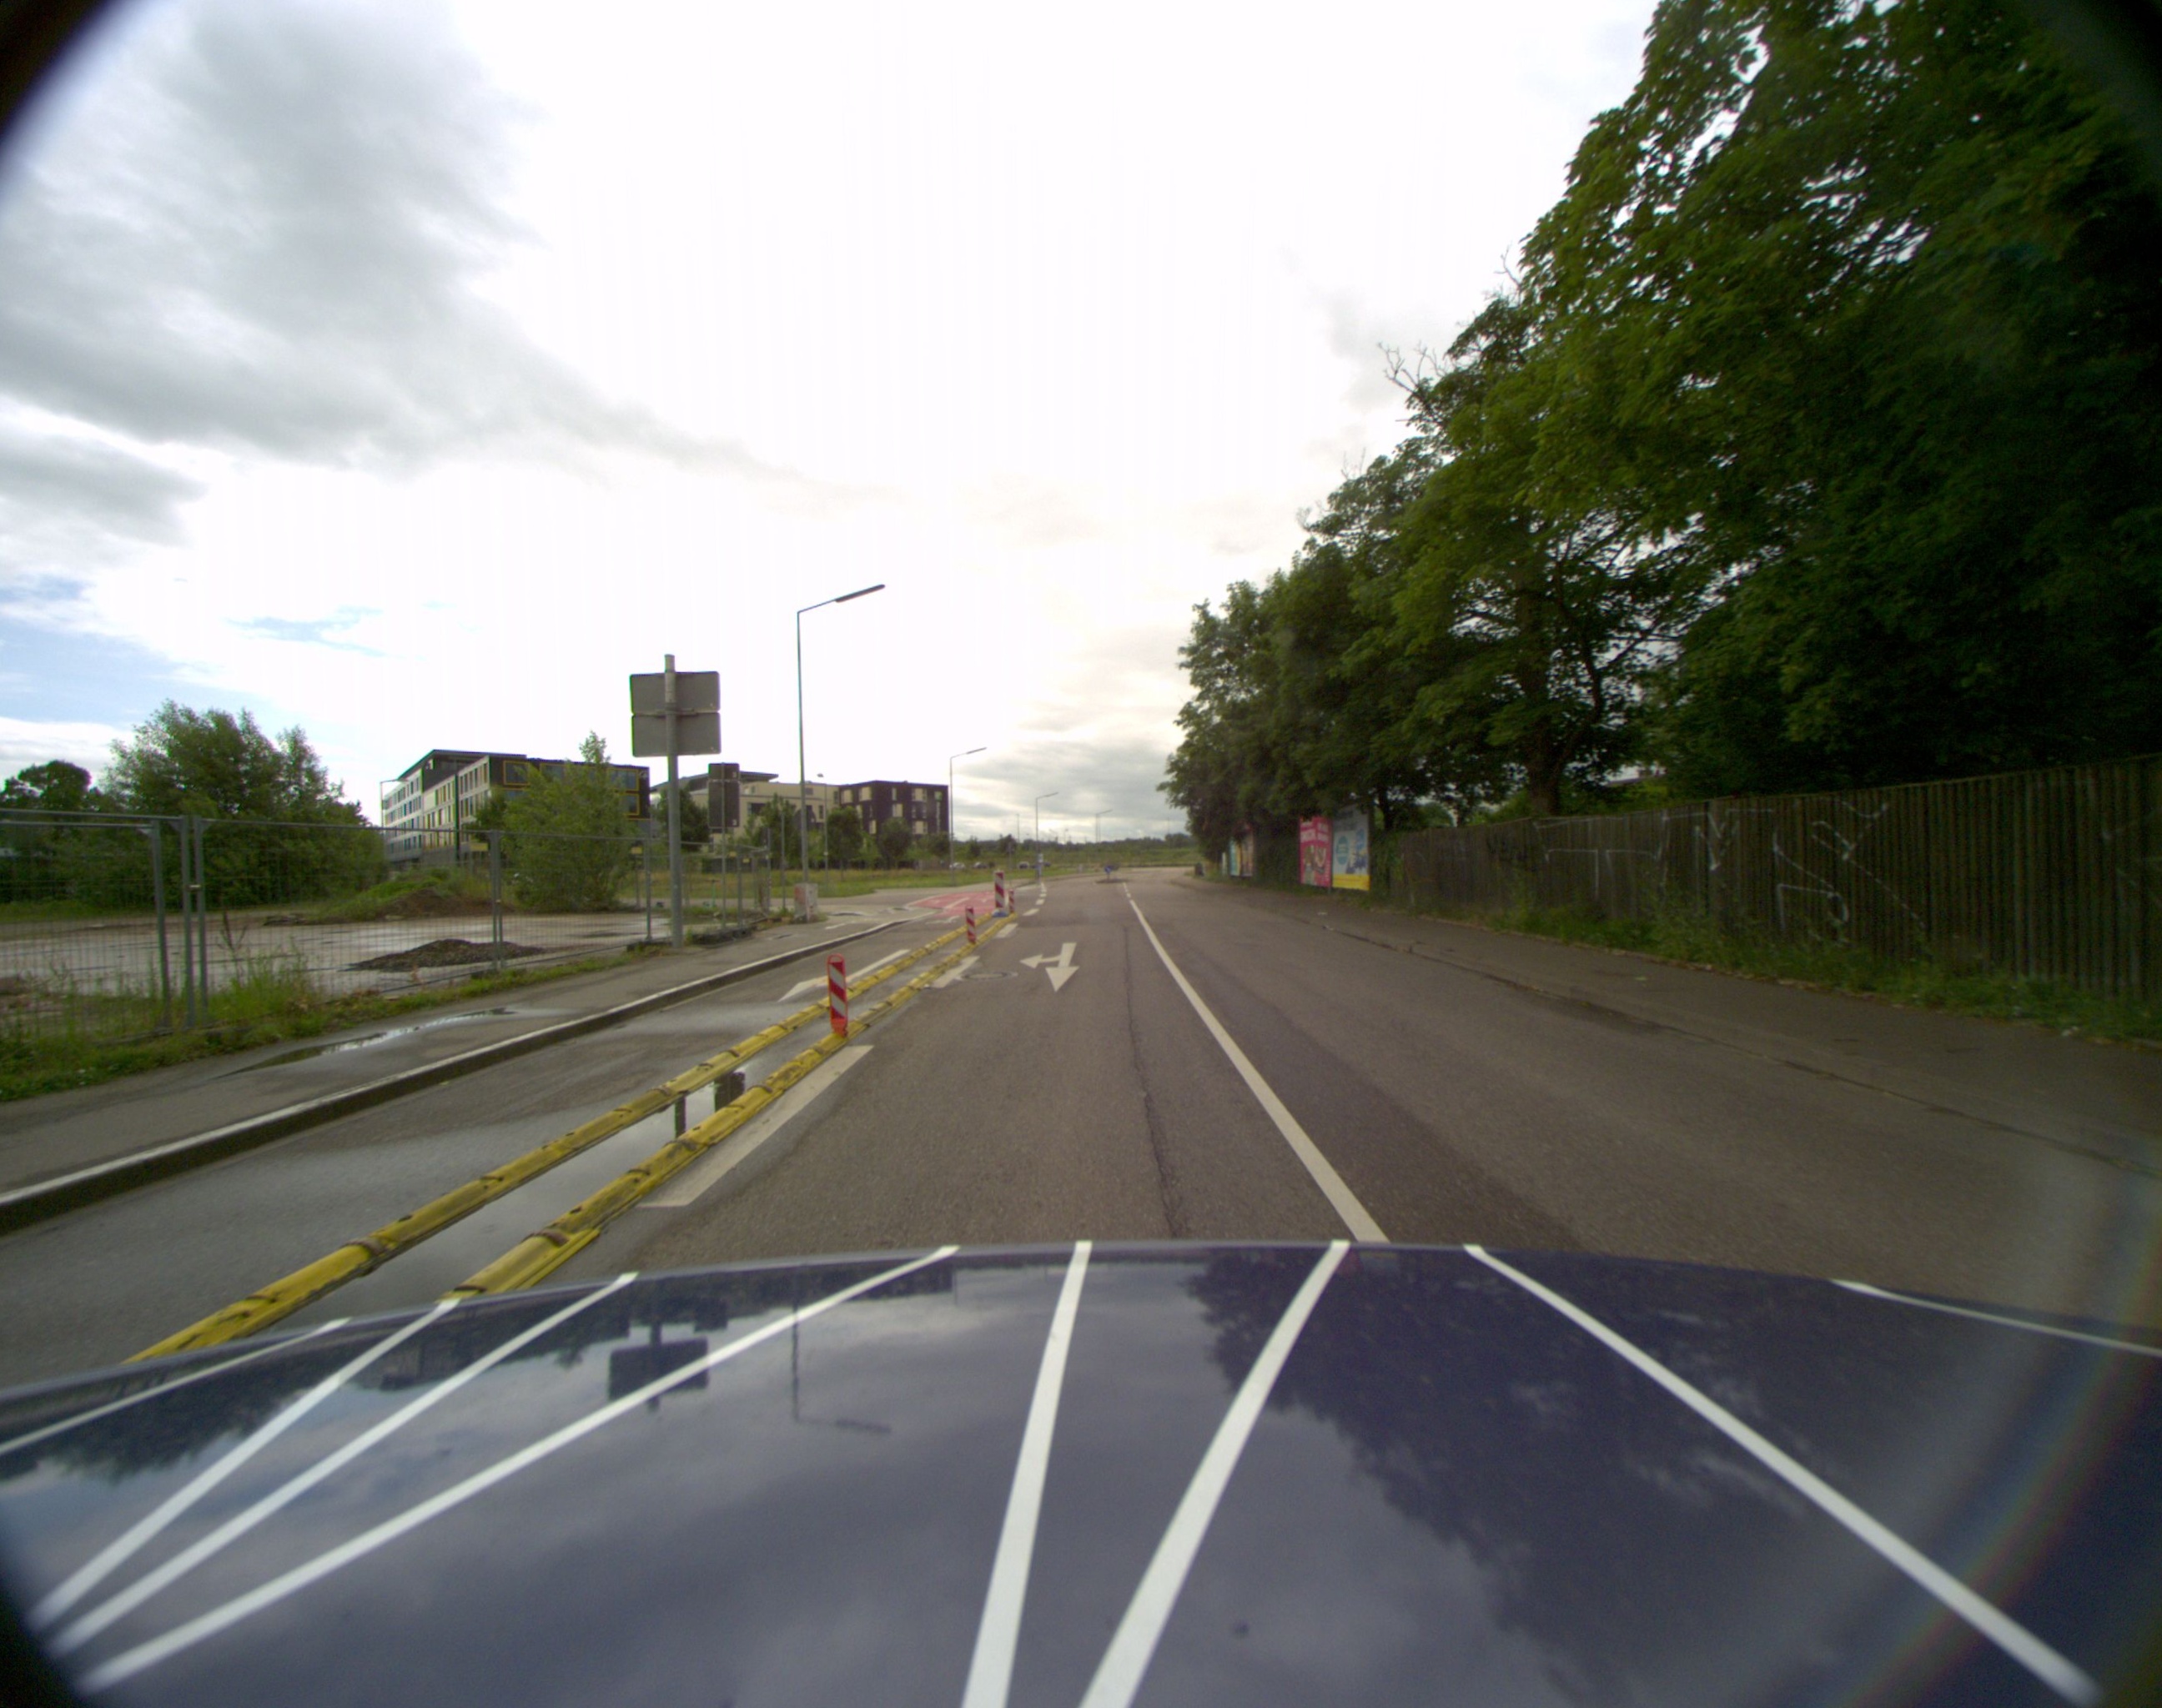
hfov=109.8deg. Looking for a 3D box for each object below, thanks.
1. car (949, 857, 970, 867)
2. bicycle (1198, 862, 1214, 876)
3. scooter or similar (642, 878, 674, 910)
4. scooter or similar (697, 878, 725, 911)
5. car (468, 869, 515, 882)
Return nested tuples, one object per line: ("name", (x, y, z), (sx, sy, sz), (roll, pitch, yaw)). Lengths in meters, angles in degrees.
("car", (-25.491, 1.607, 159.061), (1.994, 2.002, 4.008), (-1, 0, 42))
("bicycle", (9.490, 1.131, 57.764), (0.583, 0.992, 1.773), (-4, 0, 28))
("scooter or similar", (-16.065, 1.513, 28.833), (1.171, 1.178, 0.447), (-1, 0, 26))
("scooter or similar", (-13.502, 1.471, 27.716), (1.323, 1.178, 0.447), (-1, 0, 42))
("car", (-65.017, 2.333, 83.802), (4.008, 1.324, 1.559), (-1, 0, -42))
